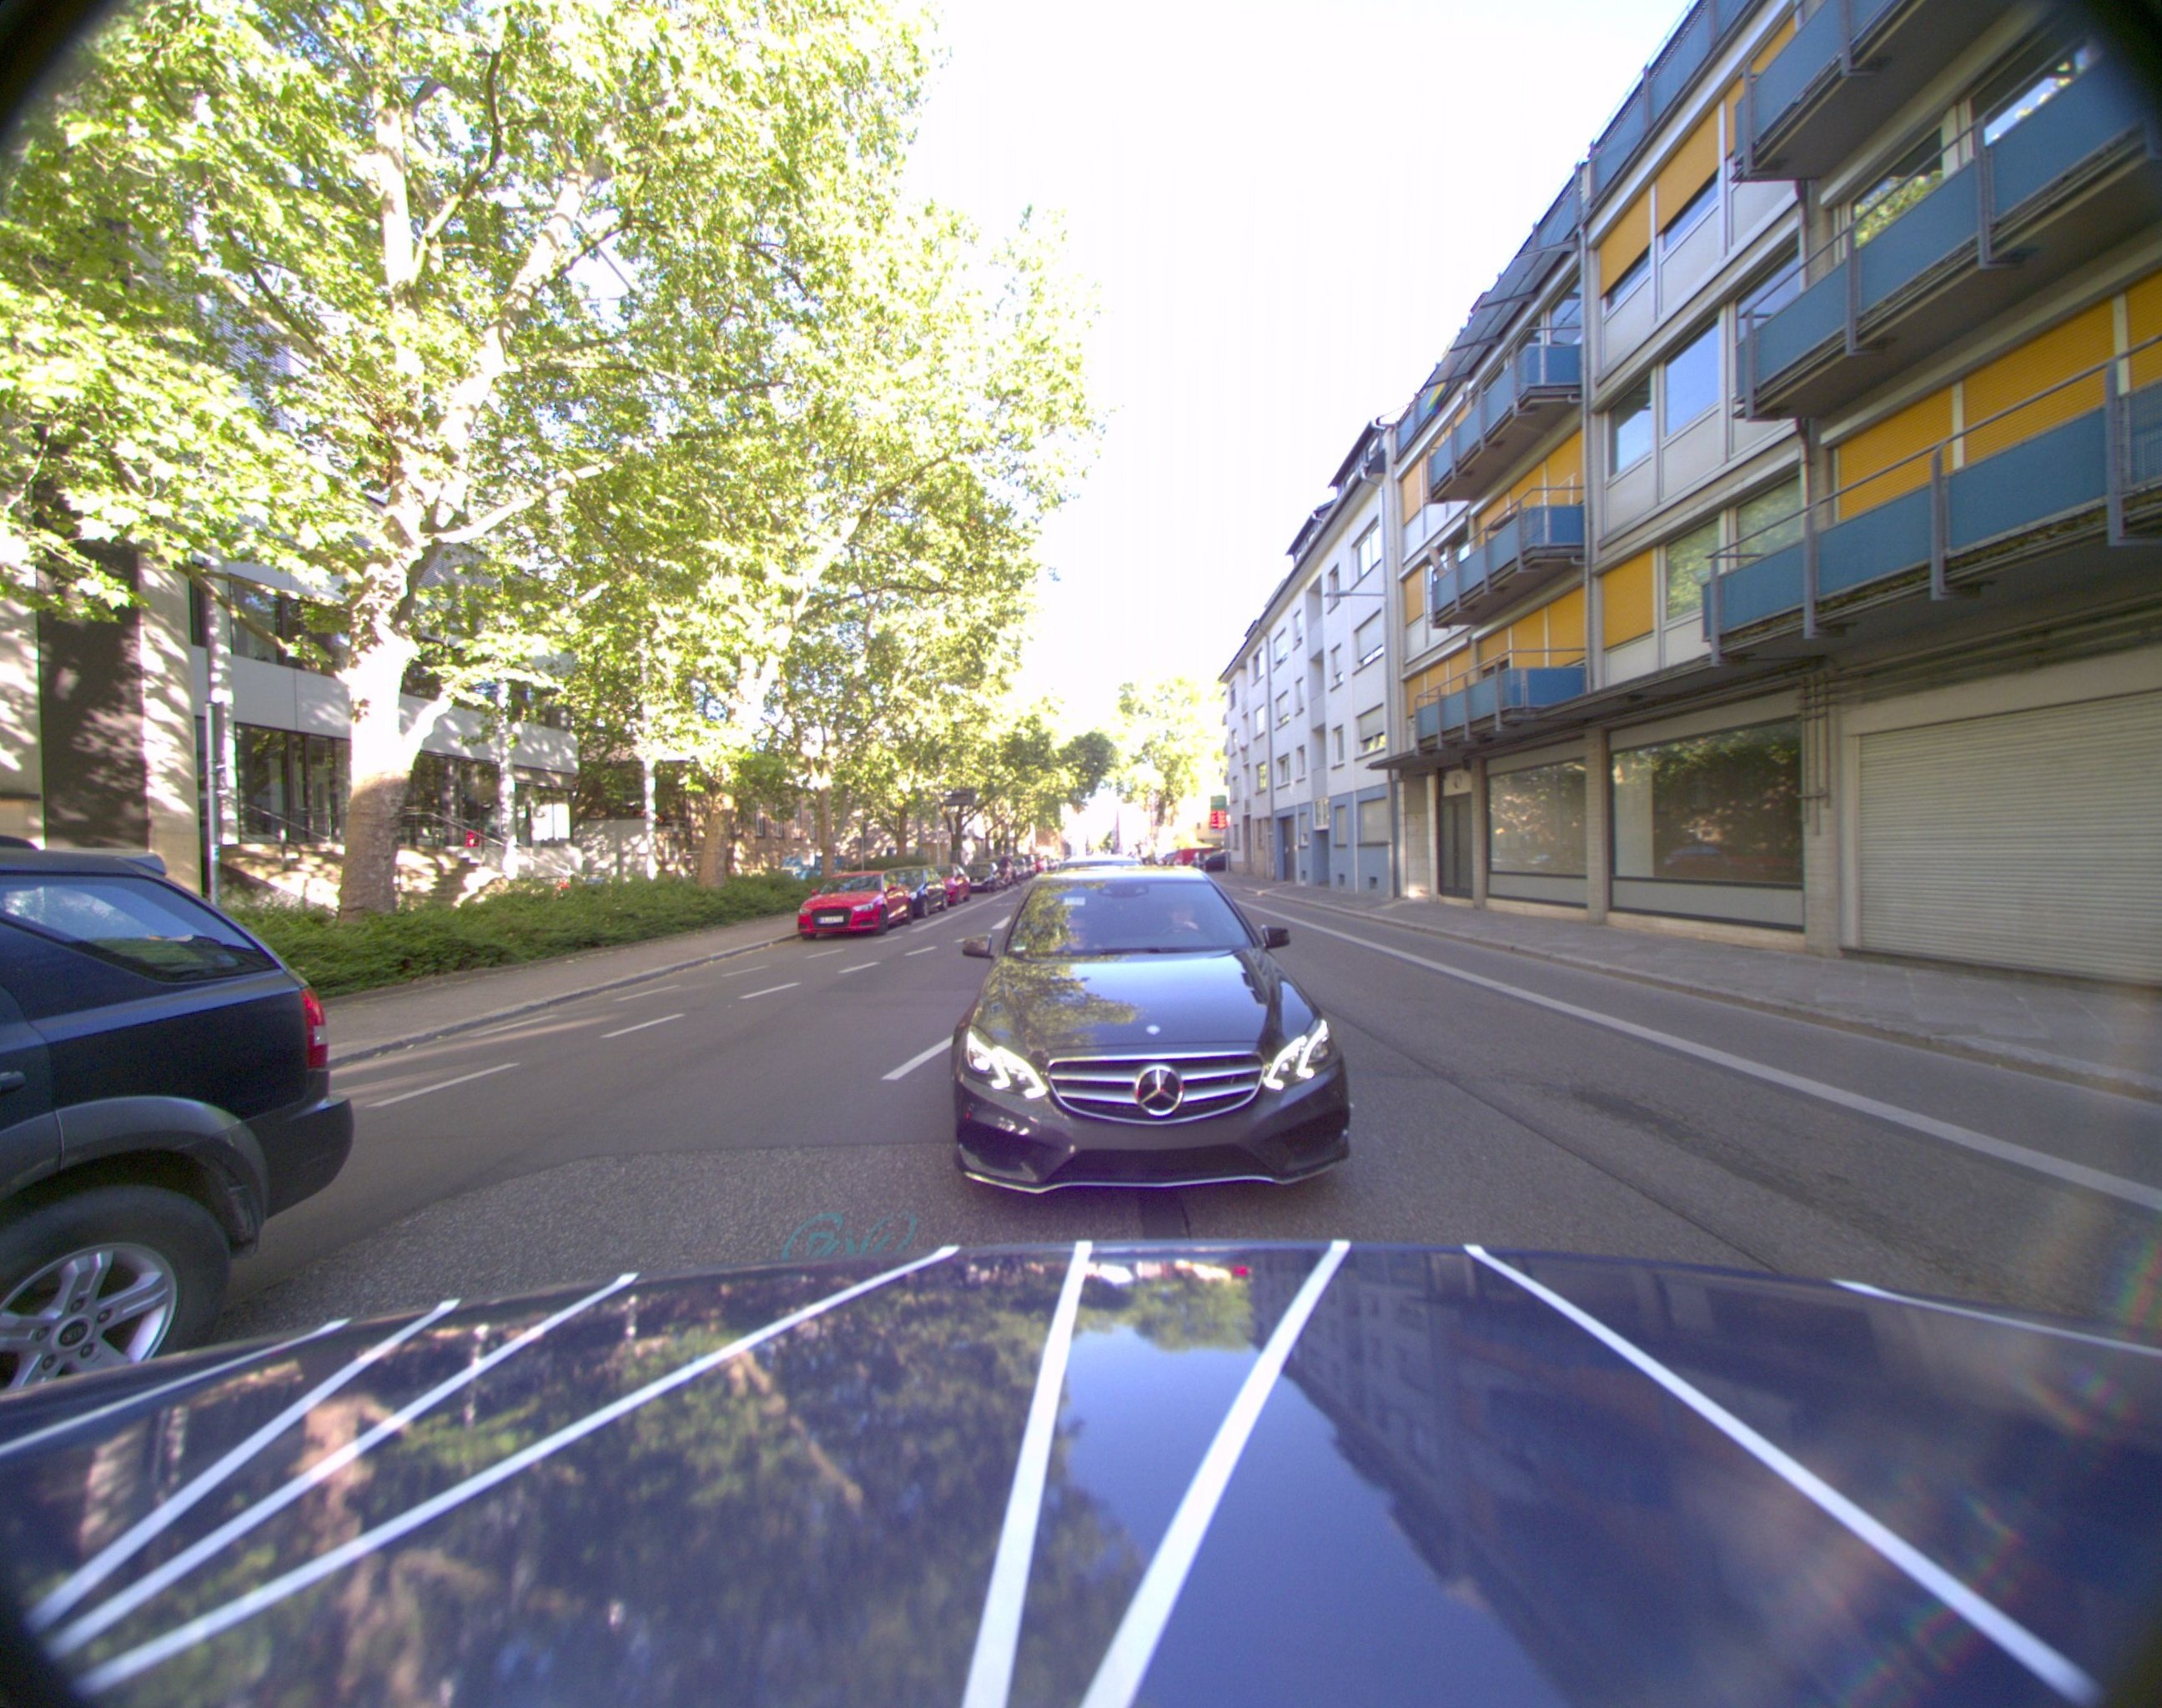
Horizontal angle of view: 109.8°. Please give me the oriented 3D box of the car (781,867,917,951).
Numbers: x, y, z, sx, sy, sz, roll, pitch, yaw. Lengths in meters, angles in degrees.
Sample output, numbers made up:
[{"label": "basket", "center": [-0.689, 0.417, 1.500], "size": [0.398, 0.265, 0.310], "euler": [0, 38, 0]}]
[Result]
[{"label": "car", "center": [-5.207, 1.171, 17.673], "size": [1.830, 1.519, 4.142], "euler": [-4, 0, 0]}]

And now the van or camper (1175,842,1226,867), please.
[{"label": "van or camper", "center": [10.063, 0.020, 64.198], "size": [3.997, 2.002, 2.000], "euler": [-2, 1, 0]}]

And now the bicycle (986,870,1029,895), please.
[{"label": "bicycle", "center": [-3.258, 1.262, 33.691], "size": [1.800, 1.009, 0.734], "euler": [-2, 1, -11]}]

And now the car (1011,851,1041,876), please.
[{"label": "car", "center": [-4.273, 0.717, 59.600], "size": [1.992, 1.795, 4.376], "euler": [-2, 0, 0]}]

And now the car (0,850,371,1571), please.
[{"label": "car", "center": [-3.616, 0.930, 0.611], "size": [1.785, 1.760, 4.384], "euler": [-3, 0, 2]}]

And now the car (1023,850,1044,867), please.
[{"label": "car", "center": [-4.379, 0.432, 70.445], "size": [1.741, 1.469, 4.091], "euler": [-2, 0, 0]}]

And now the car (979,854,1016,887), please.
[{"label": "car", "center": [-4.603, 0.892, 42.412], "size": [1.634, 1.677, 3.907], "euler": [-2, 0, 0]}]

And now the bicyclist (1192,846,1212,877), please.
[{"label": "bicyclist", "center": [6.198, 0.379, 38.993], "size": [0.844, 1.546, 0.839], "euler": [-2, 1, 0]}]

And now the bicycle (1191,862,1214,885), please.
[{"label": "bicycle", "center": [6.215, 0.975, 38.998], "size": [0.865, 1.072, 1.836], "euler": [-2, 0, 1]}]

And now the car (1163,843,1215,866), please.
[{"label": "car", "center": [10.918, 0.021, 77.338], "size": [4.990, 2.181, 2.000], "euler": [-2, 1, 1]}]

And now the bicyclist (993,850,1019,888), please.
[{"label": "bicyclist", "center": [-3.310, 0.650, 33.671], "size": [1.038, 1.610, 0.697], "euler": [-2, 1, -10]}]

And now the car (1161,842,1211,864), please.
[{"label": "car", "center": [11.038, -0.106, 80.190], "size": [4.990, 2.181, 2.000], "euler": [-2, 1, 1]}]

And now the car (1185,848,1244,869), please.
[{"label": "car", "center": [10.318, 0.320, 58.960], "size": [4.146, 1.486, 2.000], "euler": [-2, 0, 1]}]

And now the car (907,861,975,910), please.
[{"label": "car", "center": [-4.995, 1.085, 27.637], "size": [1.681, 1.484, 3.918], "euler": [-4, 0, 0]}]

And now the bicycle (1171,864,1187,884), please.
[{"label": "bicycle", "center": [5.006, 1.011, 38.921], "size": [0.695, 0.924, 1.864], "euler": [-2, 0, 4]}]

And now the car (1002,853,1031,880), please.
[{"label": "car", "center": [-4.609, 0.862, 54.841], "size": [1.741, 1.785, 3.895], "euler": [-2, 0, 0]}]

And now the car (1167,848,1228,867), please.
[{"label": "car", "center": [10.165, 0.280, 66.701], "size": [4.990, 1.486, 2.000], "euler": [-2, 0, 1]}]

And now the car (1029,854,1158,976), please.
[{"label": "car", "center": [0.198, 0.820, 12.521], "size": [1.646, 1.520, 4.619], "euler": [-4, 0, 1]}]

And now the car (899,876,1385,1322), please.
[{"label": "car", "center": [0.222, 0.958, 4.719], "size": [1.740, 1.448, 3.864], "euler": [-2, 0, 0]}]

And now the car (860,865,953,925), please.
[{"label": "car", "center": [-5.074, 1.133, 22.605], "size": [1.741, 1.444, 4.091], "euler": [-4, 0, 0]}]

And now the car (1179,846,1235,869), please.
[{"label": "car", "center": [10.141, 0.265, 61.291], "size": [4.146, 1.681, 2.000], "euler": [-2, 0, 1]}]

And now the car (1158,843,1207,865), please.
[{"label": "car", "center": [11.042, -0.013, 82.821], "size": [4.990, 2.181, 2.000], "euler": [-2, 1, 1]}]

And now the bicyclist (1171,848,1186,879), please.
[{"label": "bicyclist", "center": [5.002, 0.485, 38.982], "size": [0.686, 1.569, 0.982], "euler": [-2, 1, 4]}]

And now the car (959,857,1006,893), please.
[{"label": "car", "center": [-4.775, 0.973, 37.391], "size": [1.741, 1.622, 4.091], "euler": [-2, 0, 0]}]
